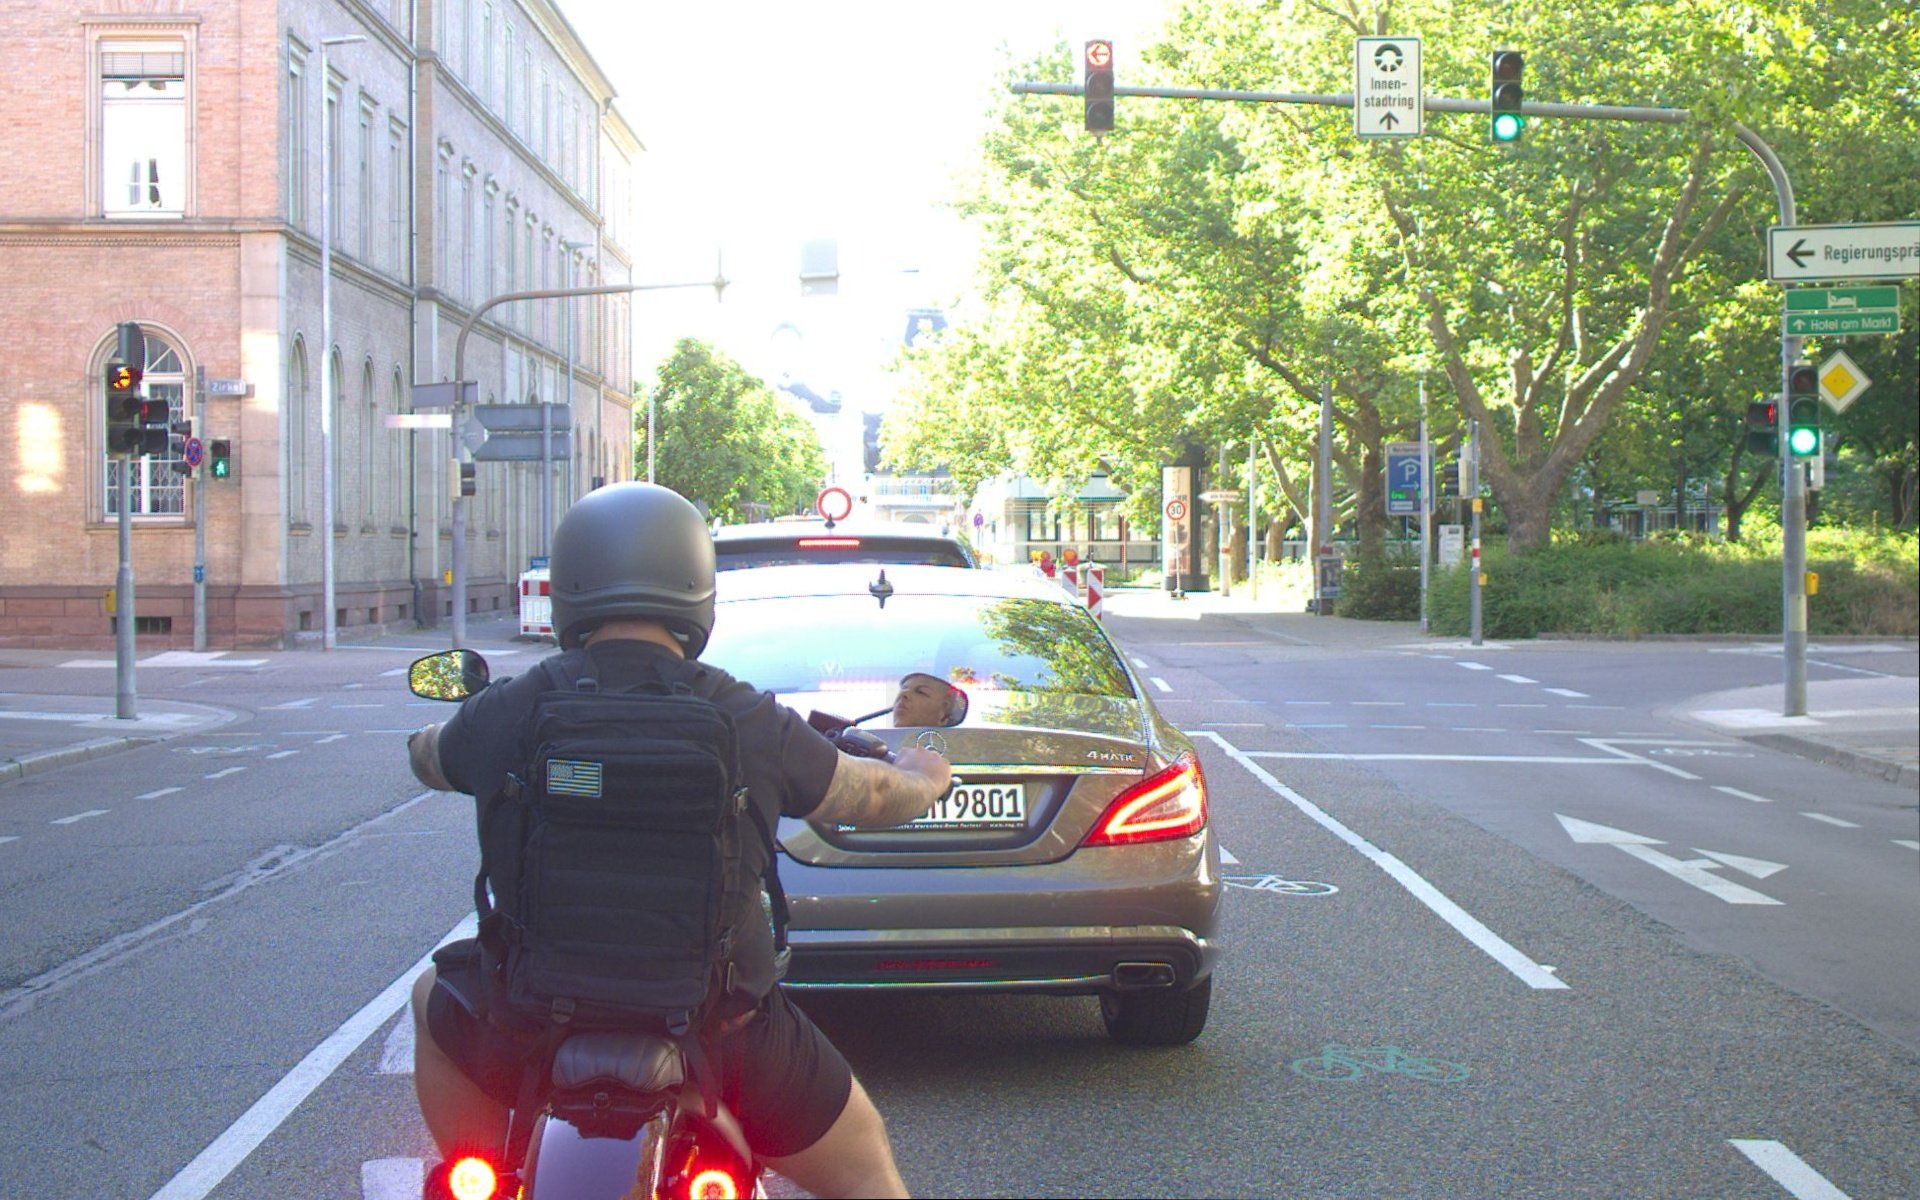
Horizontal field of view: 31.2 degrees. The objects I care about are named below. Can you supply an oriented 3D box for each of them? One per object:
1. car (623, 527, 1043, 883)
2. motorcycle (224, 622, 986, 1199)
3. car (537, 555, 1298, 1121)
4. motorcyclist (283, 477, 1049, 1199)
[{"bbox_3d":[-0.651,0.417,16.777,1.813,1.530,3.849,0,1,-3],"label":"car"},{"bbox_3d":[-0.471,0.737,5.546,0.962,1.352,2.320,1,1,-1],"label":"motorcycle"},{"bbox_3d":[-0.356,0.586,11.126,1.901,1.436,4.290,0,1,-8],"label":"car"},{"bbox_3d":[-0.421,0.619,5.275,1.061,1.577,0.908,1,0,-1],"label":"motorcyclist"}]
